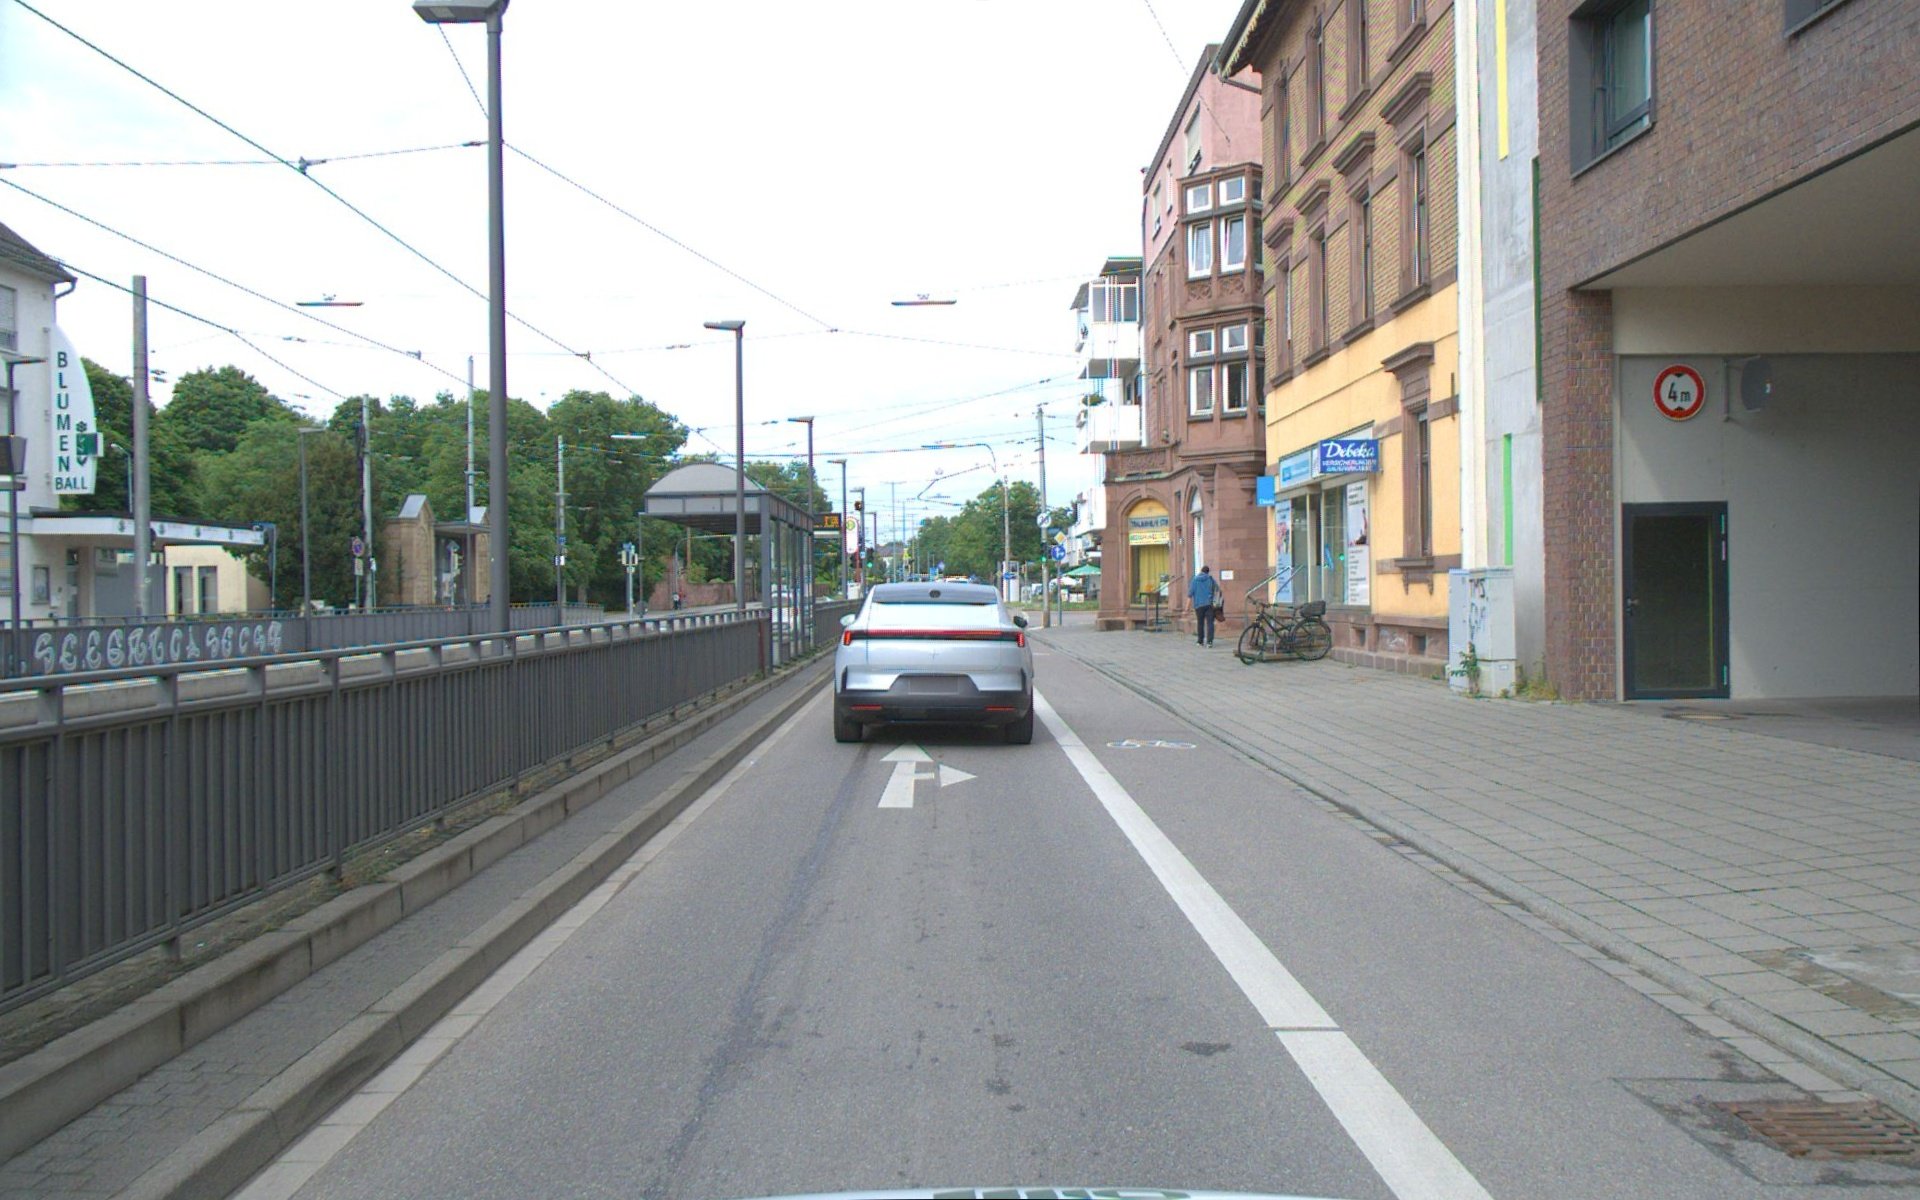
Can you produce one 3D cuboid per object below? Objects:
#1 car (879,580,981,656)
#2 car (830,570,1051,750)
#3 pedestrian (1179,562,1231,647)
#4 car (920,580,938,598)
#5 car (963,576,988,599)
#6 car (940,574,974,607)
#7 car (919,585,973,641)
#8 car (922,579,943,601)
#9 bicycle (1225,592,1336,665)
[{"bbox_3d":[-0.650,0.335,34.290,1.953,1.444,3.999,-2,0,-2],"label":"car"},{"bbox_3d":[-0.323,0.546,16.874,1.960,1.608,3.996,0,0,-5],"label":"car"},{"bbox_3d":[5.612,0.091,37.896,0.941,1.882,0.975,-3,1,-1],"label":"pedestrian"},{"bbox_3d":[-3.512,-1.254,185.921,1.953,2.049,3.999,-1,0,-1],"label":"car"},{"bbox_3d":[1.759,-1.412,188.151,2.750,2.548,5.721,0,0,-1],"label":"car"},{"bbox_3d":[-0.242,-0.690,124.296,2.182,2.444,5.119,0,0,-4],"label":"car"},{"bbox_3d":[-0.426,0.405,52.449,1.647,1.717,3.823,0,0,0],"label":"car"},{"bbox_3d":[-2.626,-0.969,159.140,1.953,2.049,3.999,-1,0,-1],"label":"car"},{"bbox_3d":[5.572,0.487,28.816,1.742,1.149,0.642,-3,0,-2],"label":"bicycle"}]
